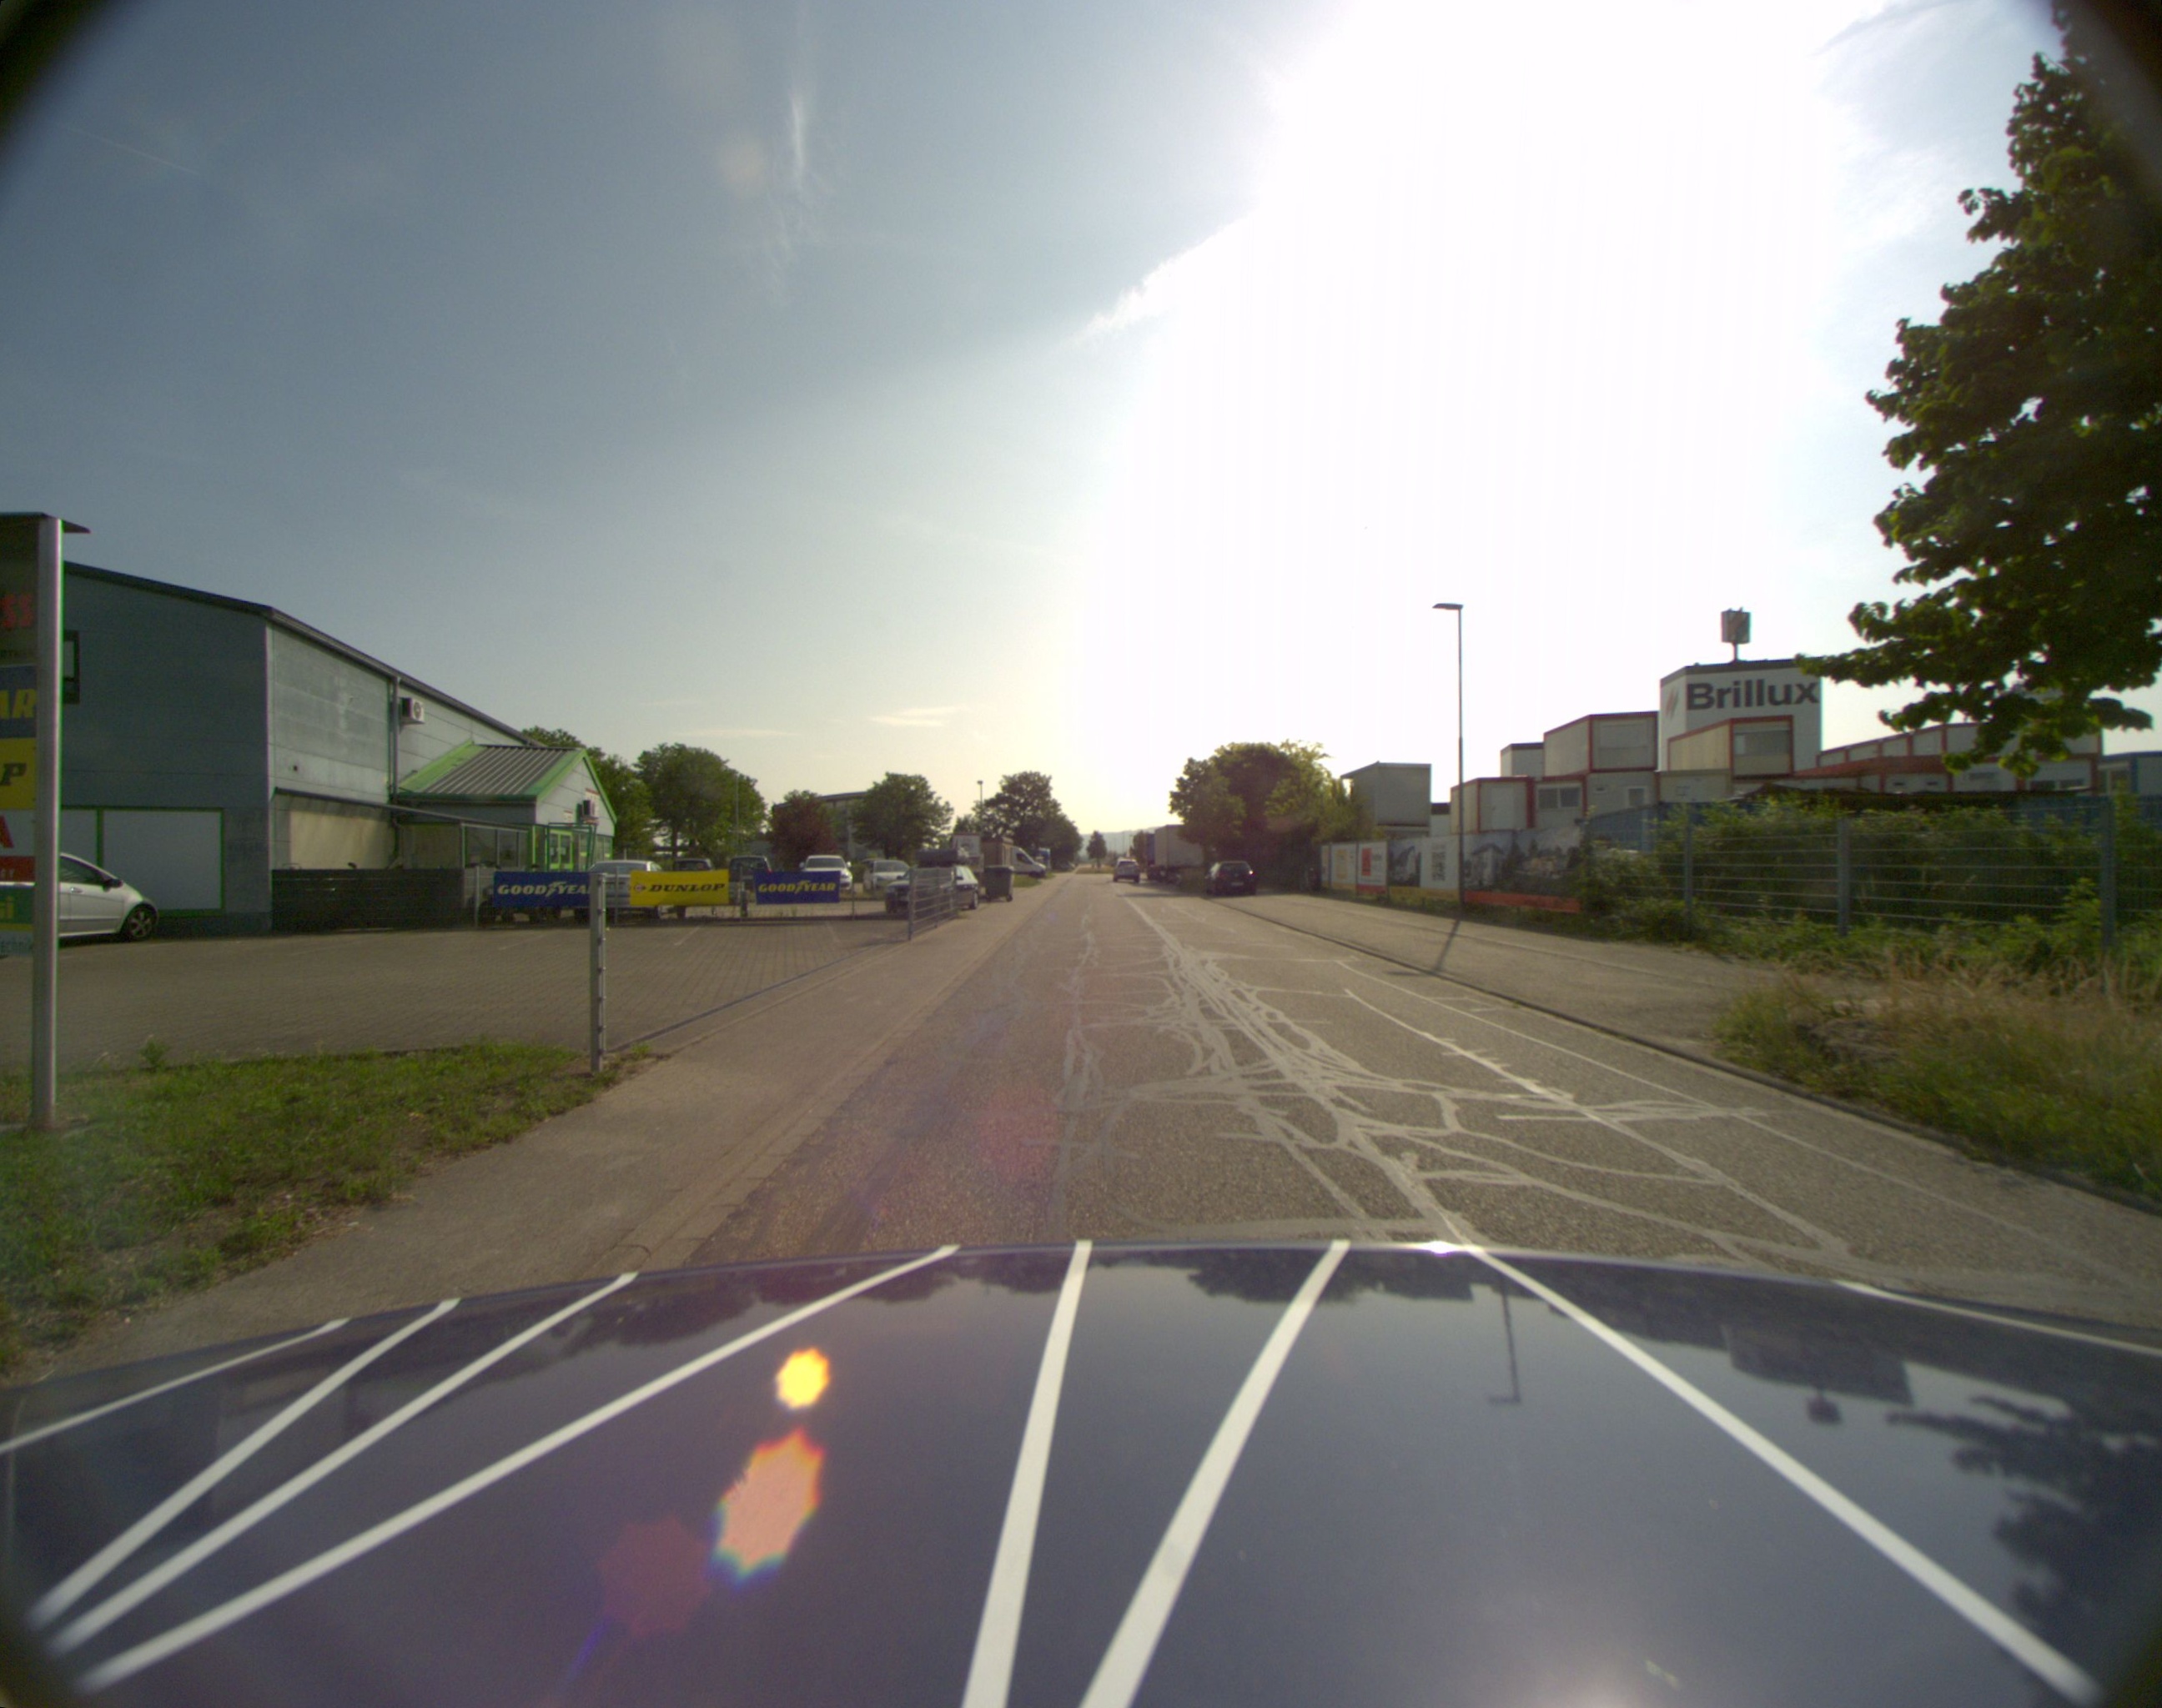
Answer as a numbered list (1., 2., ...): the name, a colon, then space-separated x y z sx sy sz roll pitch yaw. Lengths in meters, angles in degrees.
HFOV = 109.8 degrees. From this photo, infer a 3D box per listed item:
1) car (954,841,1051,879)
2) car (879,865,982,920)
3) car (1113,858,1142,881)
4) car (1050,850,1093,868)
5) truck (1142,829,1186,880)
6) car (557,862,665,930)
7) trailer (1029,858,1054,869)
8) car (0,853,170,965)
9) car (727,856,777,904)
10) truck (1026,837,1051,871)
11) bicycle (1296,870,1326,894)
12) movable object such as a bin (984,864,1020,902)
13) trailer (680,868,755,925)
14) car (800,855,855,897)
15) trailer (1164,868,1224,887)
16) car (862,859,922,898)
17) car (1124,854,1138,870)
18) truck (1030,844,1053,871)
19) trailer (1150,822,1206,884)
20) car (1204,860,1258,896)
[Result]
1. car: -5.706 0.422 54.933 6.747 2.524 2.278 -2 0 -13
2. car: -4.118 1.010 21.521 1.677 1.360 4.395 0 0 5
3. car: 3.352 1.104 55.069 1.816 1.617 4.249 0 0 0
4. car: -1.862 0.885 147.247 8.151 3.217 2.663 -2 0 -5
5. truck: 6.733 0.047 62.880 2.719 3.861 9.636 -2 0 1
6. car: -11.507 0.938 18.884 1.646 1.457 4.452 0 0 -23
7. trailer: -5.297 1.248 103.891 2.553 1.383 14.136 0 0 0
8. car: -16.235 0.770 11.382 1.641 1.559 3.799 0 0 -21
9. car: -12.507 0.944 28.948 1.646 1.710 3.207 0 0 -23
10. truck: -5.314 0.012 96.057 2.559 3.958 8.581 2 0 0
11. bicycle: 9.844 1.179 32.614 0.563 0.967 2.452 0 0 0
12. movable object such as a bin: -2.969 1.085 28.623 1.083 1.345 1.506 2 0 3
13. trailer: -9.012 0.991 19.016 1.496 1.241 2.972 -2 0 -23
14. car: -10.140 0.814 30.213 1.723 1.563 4.125 0 0 -23
15. trailer: 6.597 1.345 45.259 2.655 0.979 6.243 0 0 0
16. car: -7.814 0.953 31.109 1.695 1.457 4.254 0 0 -23
17. car: 8.162 1.349 124.600 1.998 2.532 6.990 1 0 1
18. truck: -6.099 0.587 118.361 3.044 3.916 10.578 0 0 0
19. trailer: 6.609 -0.053 53.274 2.706 3.861 9.765 -2 0 1
20. car: 6.447 1.009 33.102 1.691 1.461 4.094 0 0 2
